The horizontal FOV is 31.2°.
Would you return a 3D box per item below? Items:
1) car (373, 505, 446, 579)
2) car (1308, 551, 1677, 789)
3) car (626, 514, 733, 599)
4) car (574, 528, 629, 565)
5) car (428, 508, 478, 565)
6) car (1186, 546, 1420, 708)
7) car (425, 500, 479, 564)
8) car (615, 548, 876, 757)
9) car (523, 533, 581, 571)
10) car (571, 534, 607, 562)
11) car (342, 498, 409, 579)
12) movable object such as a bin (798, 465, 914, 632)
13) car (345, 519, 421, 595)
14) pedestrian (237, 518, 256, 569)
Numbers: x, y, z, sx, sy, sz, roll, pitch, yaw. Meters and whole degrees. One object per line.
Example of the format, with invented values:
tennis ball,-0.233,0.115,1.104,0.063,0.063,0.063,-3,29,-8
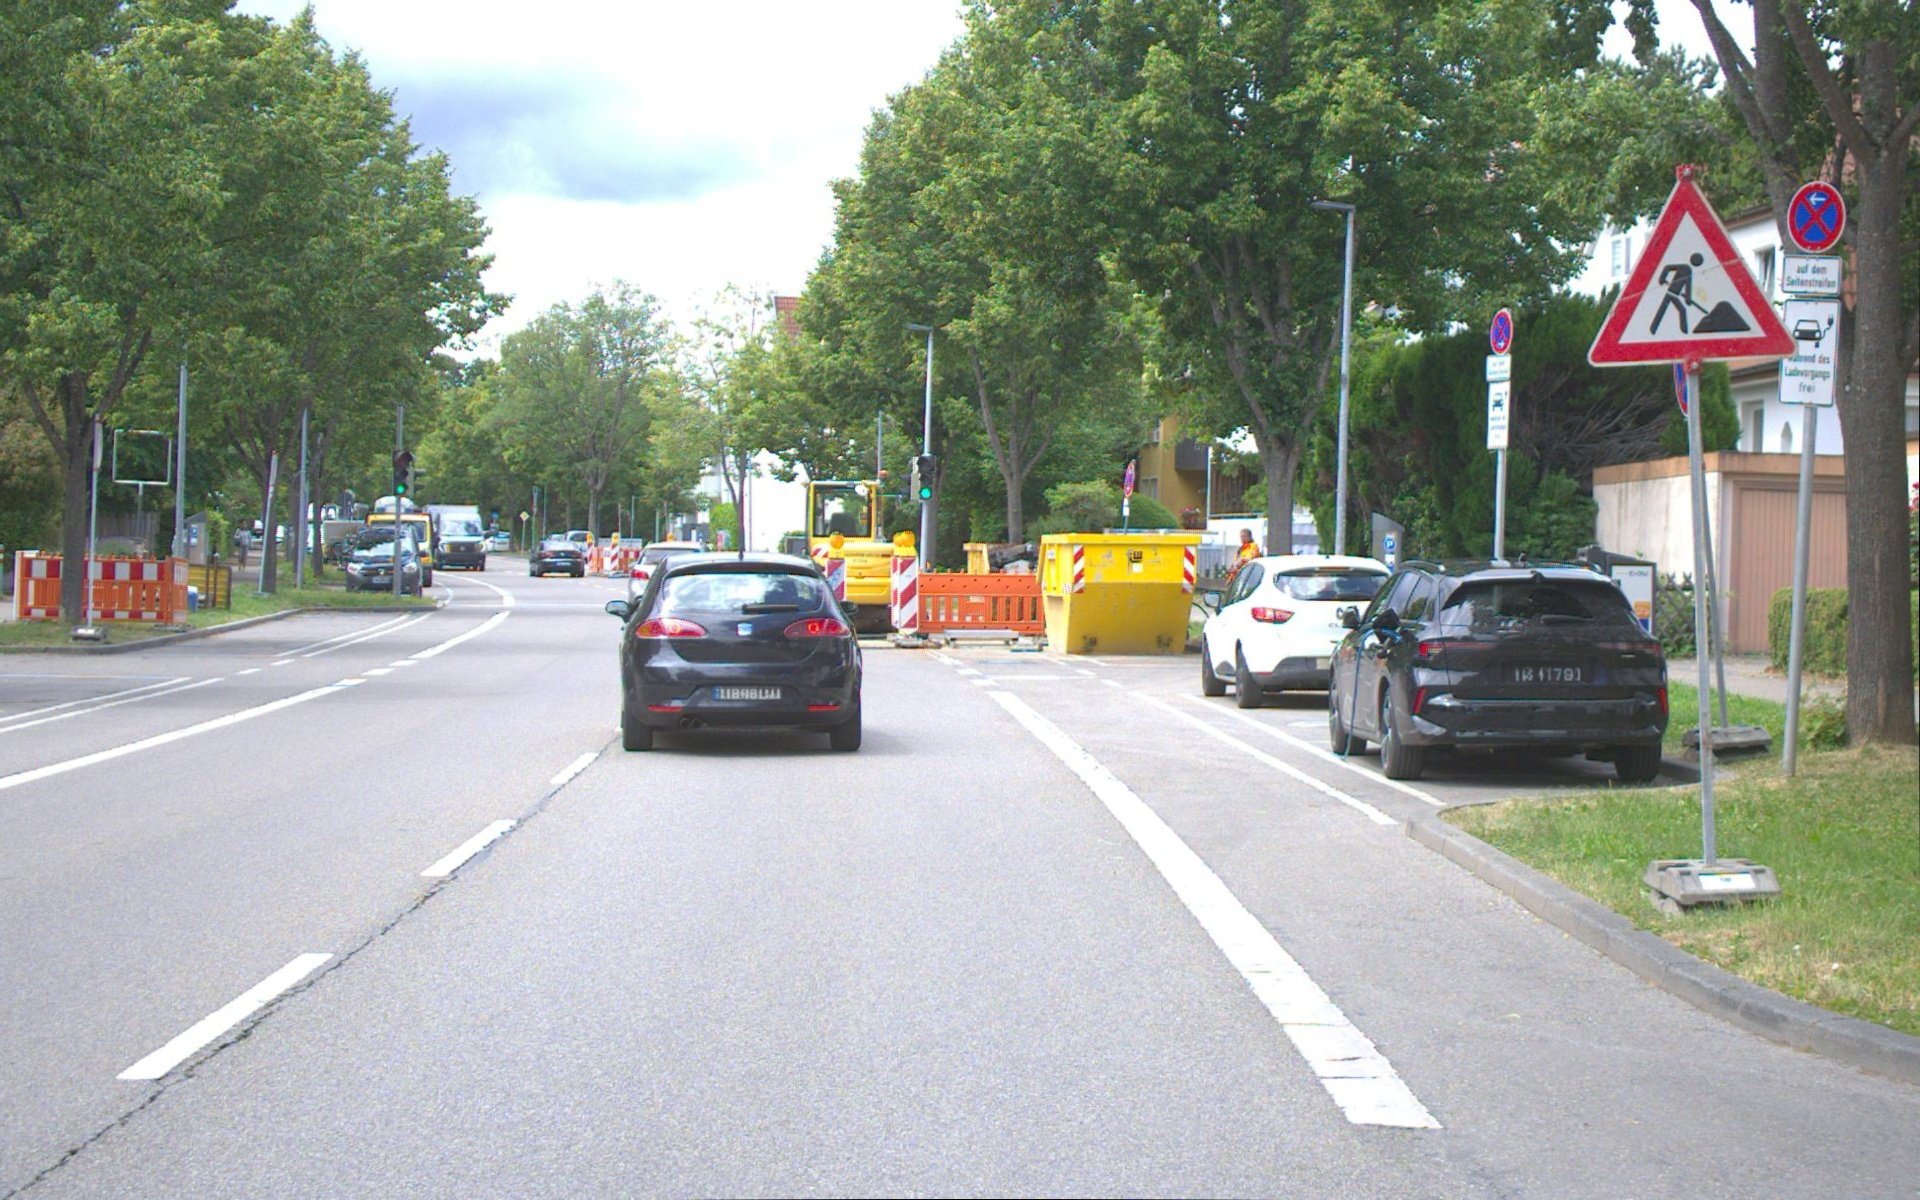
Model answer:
car,-16.702,-1.771,104.484,2.092,2.167,5.046,1,1,-9
car,3.550,0.405,23.720,1.705,1.449,4.617,0,1,-1
car,-5.688,-0.902,70.060,1.905,1.680,3.740,0,1,-1
car,-14.277,-2.142,136.908,1.809,1.410,3.694,1,1,-12
car,-21.493,-2.686,145.859,2.028,2.376,5.263,0,1,-8
car,3.283,0.217,33.554,1.672,1.457,4.001,1,1,-3
car,-22.414,-3.016,151.978,2.287,2.782,7.145,0,1,-8
car,-1.580,0.342,25.923,1.818,1.433,3.740,0,1,-2
car,-15.466,-1.823,130.276,1.809,1.370,3.694,1,1,-13
car,-19.223,-2.704,178.283,1.809,1.410,3.694,1,1,-6
car,-19.466,-2.061,114.684,2.092,2.617,5.046,1,1,-9
movable object such as a bin,-1.706,-0.841,55.596,1.768,2.565,3.740,1,1,-3
car,-13.818,-1.056,82.538,1.667,1.766,4.469,0,1,-8
pedestrian,-24.414,-1.920,117.653,0.595,1.735,0.574,1,1,-9
